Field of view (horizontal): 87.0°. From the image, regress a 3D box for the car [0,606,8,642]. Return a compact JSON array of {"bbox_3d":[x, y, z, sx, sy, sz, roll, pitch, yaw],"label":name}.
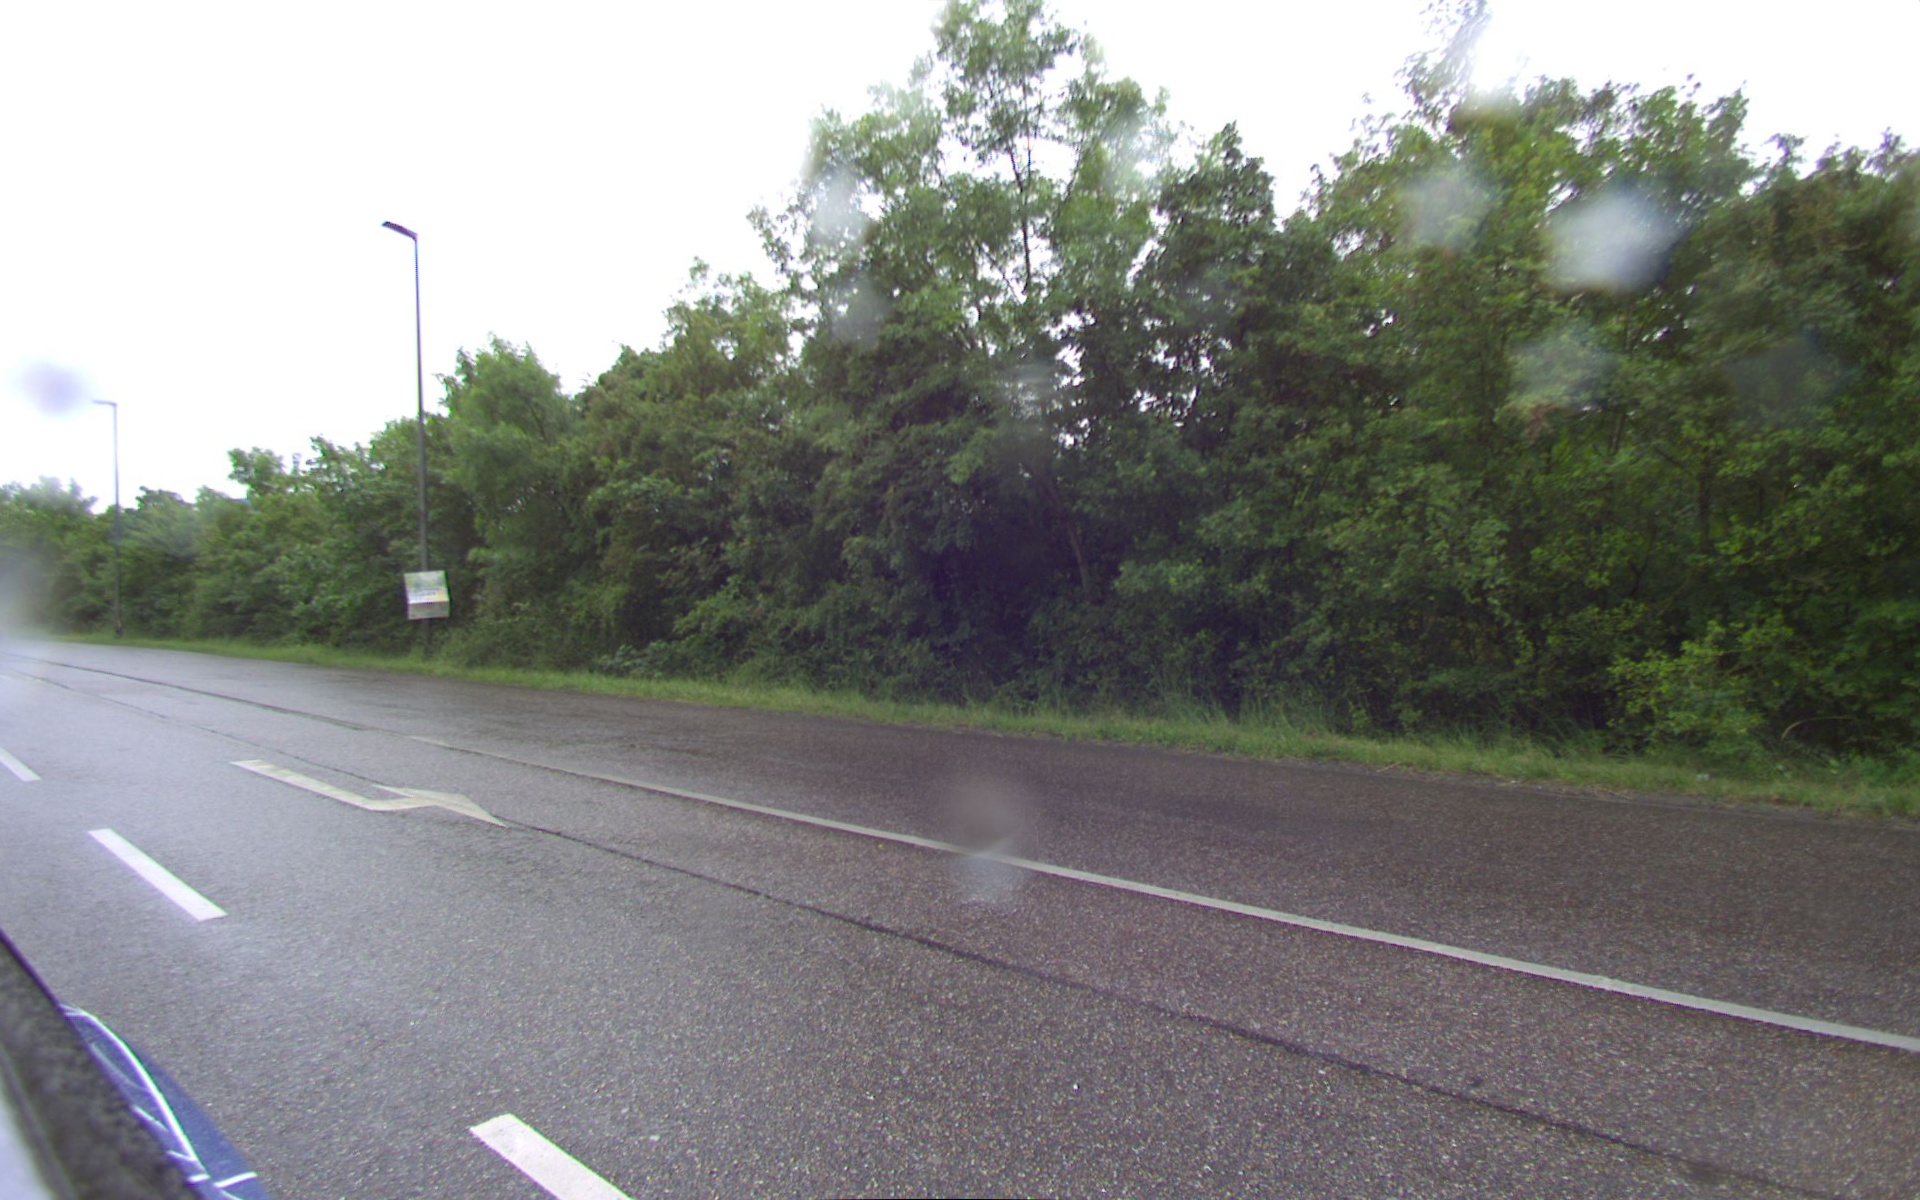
[{"bbox_3d":[-44.426,1.063,45.508,3.998,1.597,1.973,0,0,41],"label":"car"}]
